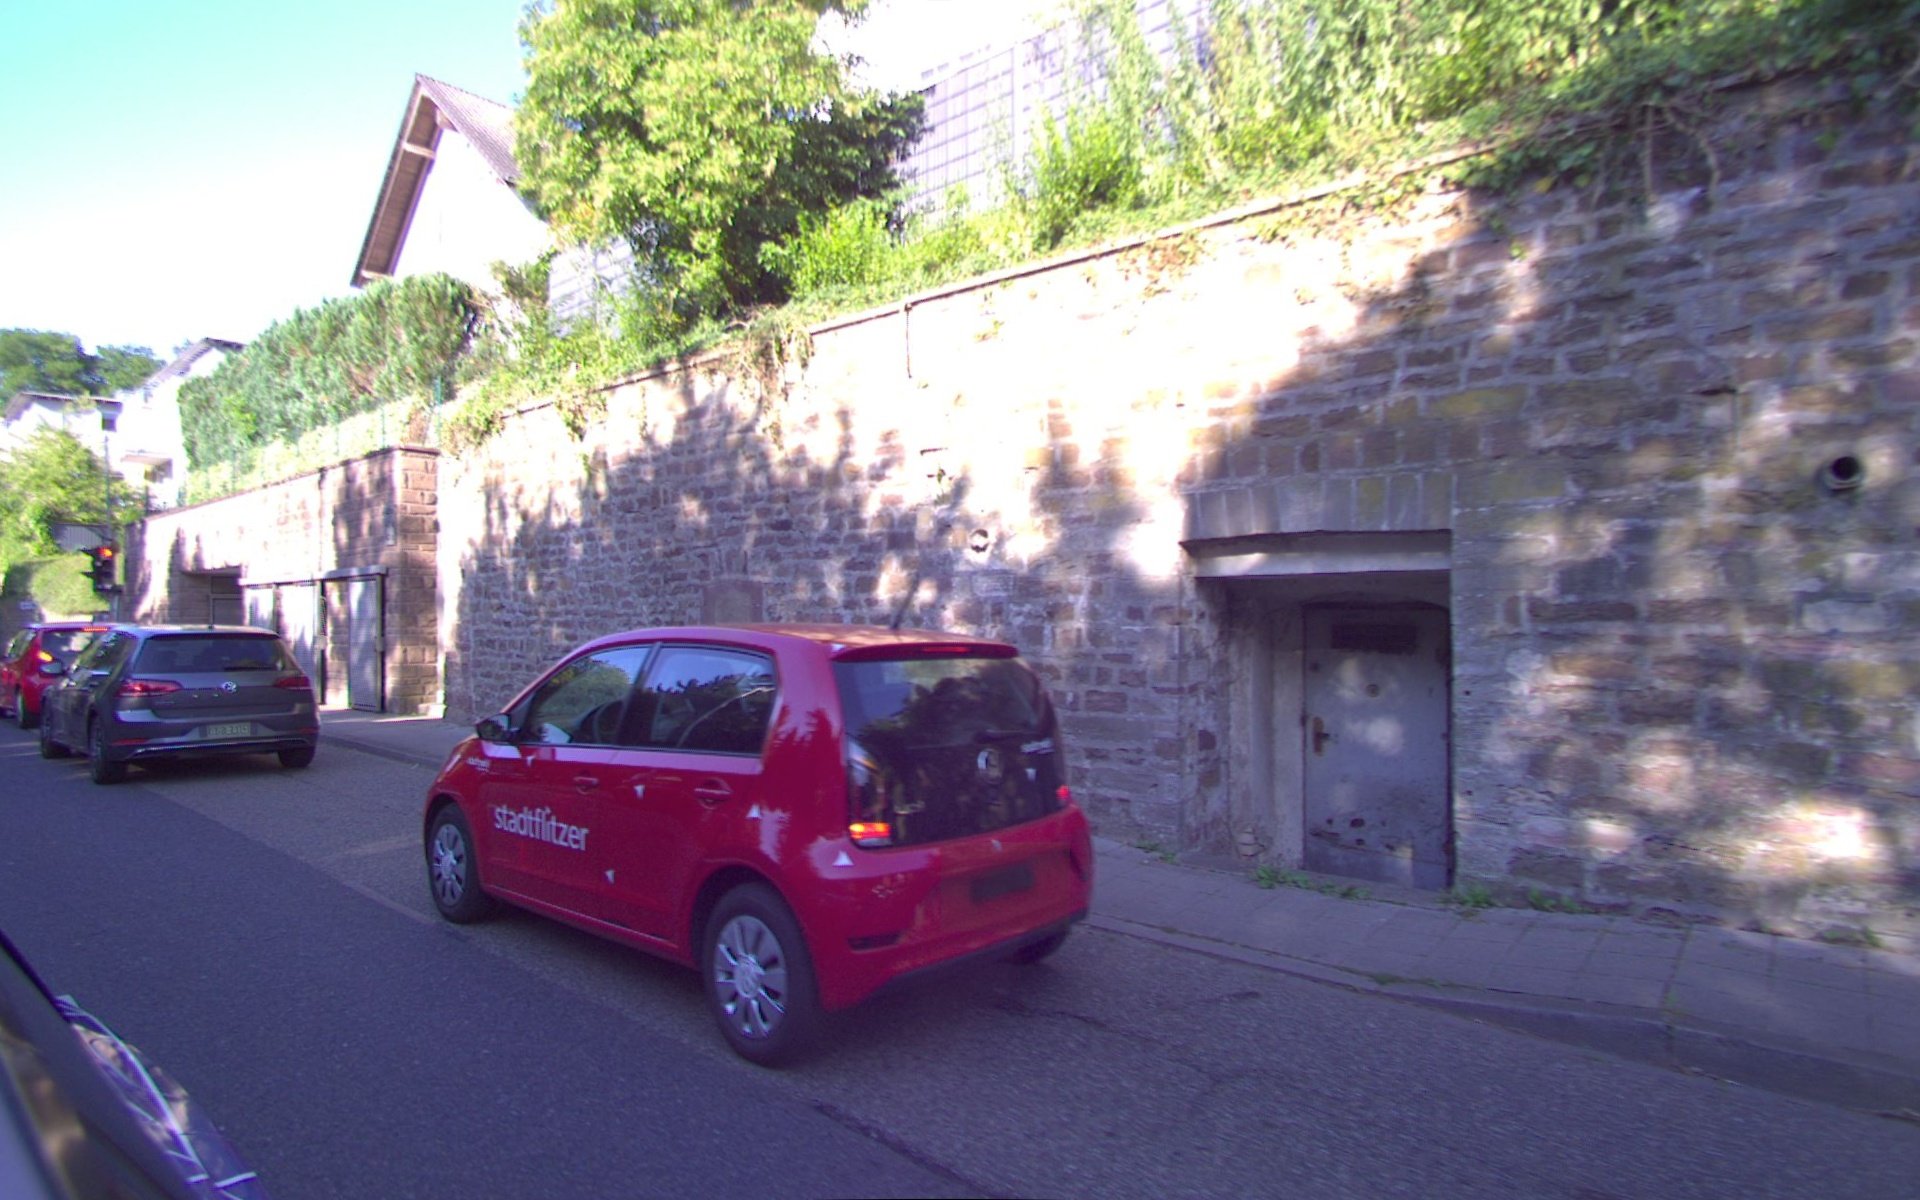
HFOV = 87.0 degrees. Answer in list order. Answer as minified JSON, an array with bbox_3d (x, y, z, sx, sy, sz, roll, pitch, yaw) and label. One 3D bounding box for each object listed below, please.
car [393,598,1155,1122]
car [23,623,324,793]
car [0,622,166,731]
[{"bbox_3d":[-1.062,0.797,4.642,3.566,1.477,1.534,-1,-3,41],"label":"car"},{"bbox_3d":[-8.177,0.962,10.405,3.927,1.422,1.632,-1,-2,40],"label":"car"},{"bbox_3d":[-13.353,1.052,15.083,3.559,1.433,1.611,-1,-2,39],"label":"car"}]
